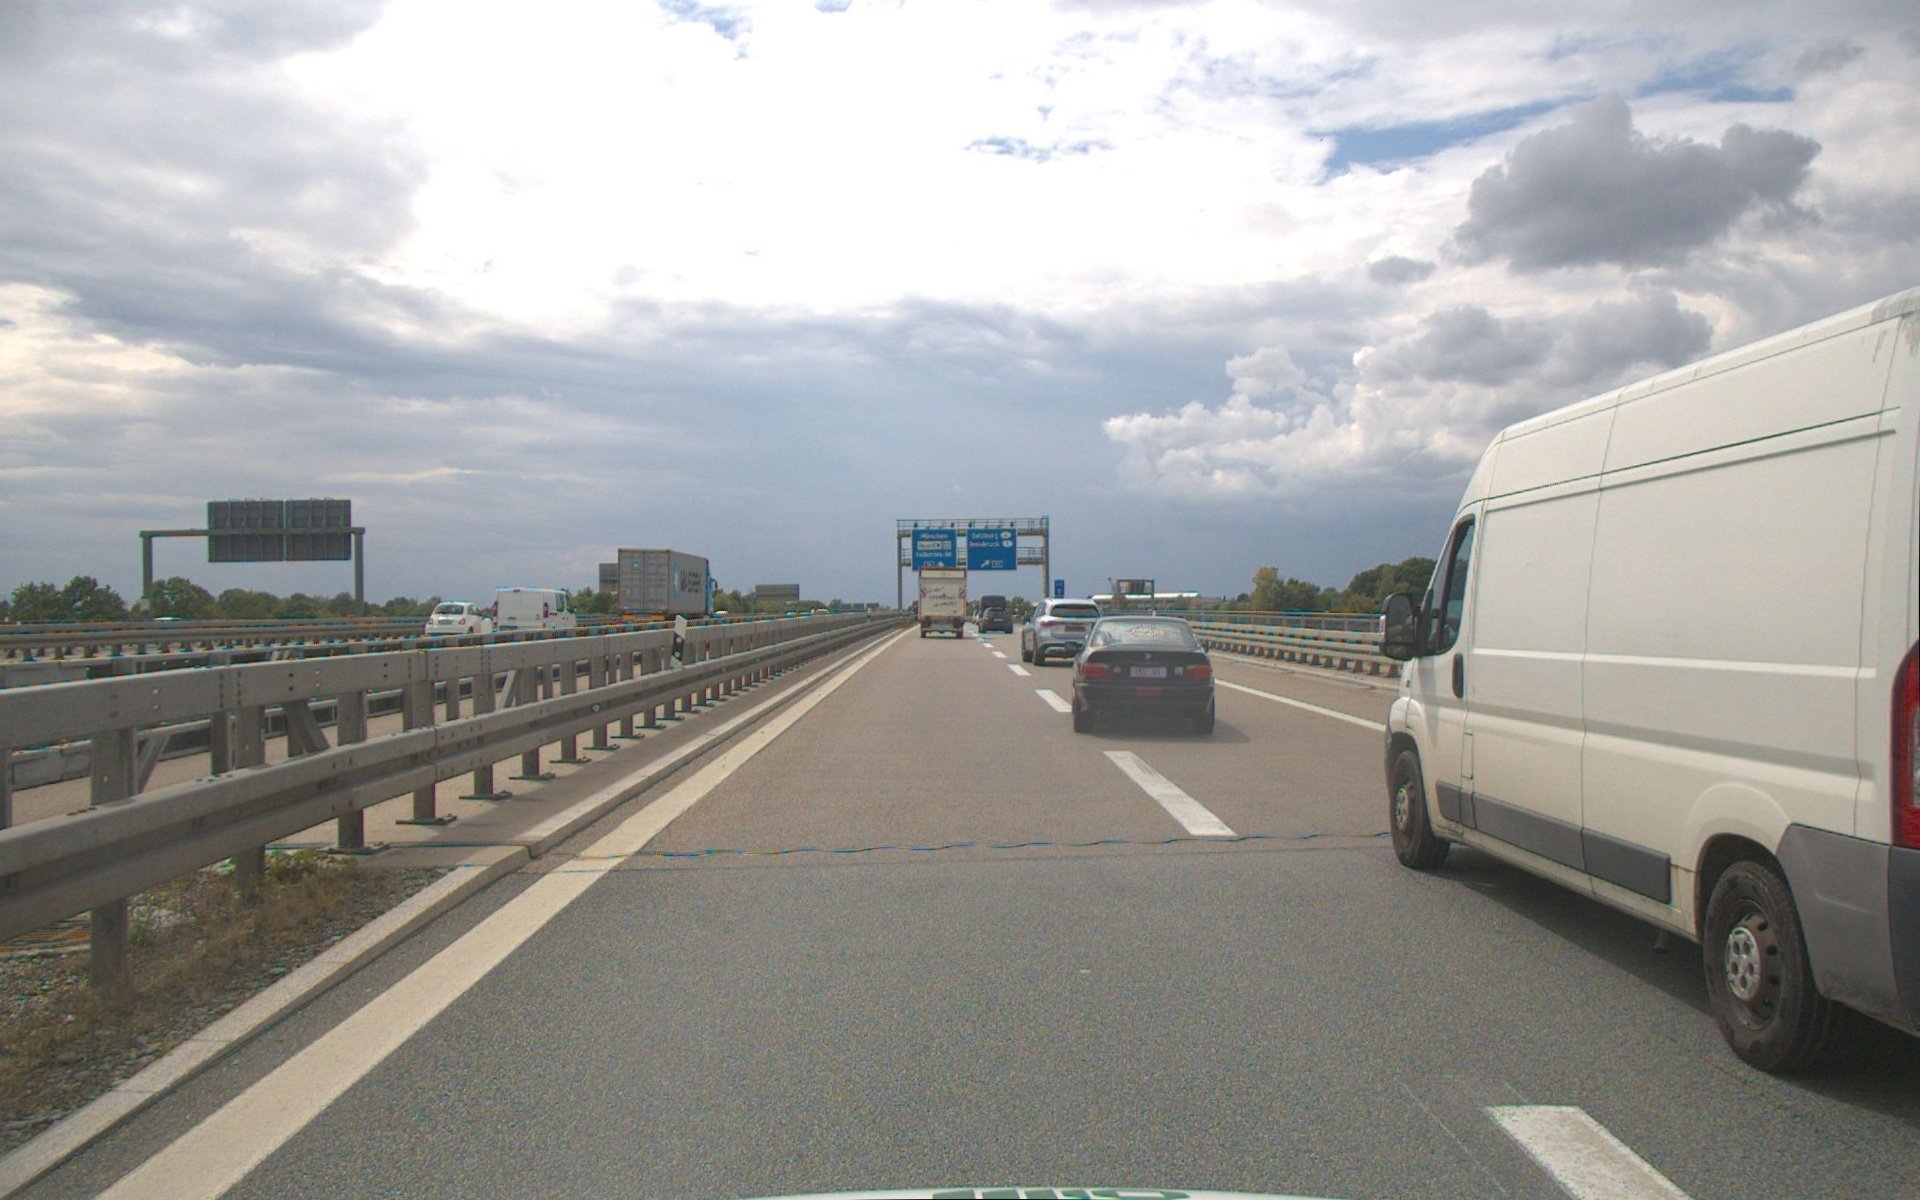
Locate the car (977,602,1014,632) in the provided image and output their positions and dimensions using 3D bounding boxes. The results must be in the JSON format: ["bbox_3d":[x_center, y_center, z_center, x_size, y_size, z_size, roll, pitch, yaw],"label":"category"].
[{"bbox_3d":[1.952,0.923,91.879,1.846,1.579,3.999,1,0,-1],"label":"car"}]

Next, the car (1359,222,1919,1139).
[{"bbox_3d":[3.617,0.231,7.446,2.071,2.497,6.150,1,0,-1],"label":"car"}]

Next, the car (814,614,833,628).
[{"bbox_3d":[-15.340,2.366,186.421,1.790,1.590,4.000,0,0,0],"label":"car"}]

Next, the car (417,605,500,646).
[{"bbox_3d":[-18.434,0.923,60.970,1.760,1.444,4.000,1,0,1],"label":"car"}]

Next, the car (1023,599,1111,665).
[{"bbox_3d":[2.607,0.763,41.198,1.783,1.541,3.998,1,0,-2],"label":"car"}]

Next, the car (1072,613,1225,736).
[{"bbox_3d":[2.318,0.840,20.512,1.668,1.303,4.369,1,0,6],"label":"car"}]

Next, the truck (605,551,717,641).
[{"bbox_3d":[-14.817,-0.179,83.491,3.119,4.089,16.068,1,0,-2],"label":"truck"}]

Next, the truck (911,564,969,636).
[{"bbox_3d":[-0.932,0.094,77.911,2.516,3.181,8.631,1,-1,-1],"label":"truck"}]

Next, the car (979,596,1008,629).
[{"bbox_3d":[2.349,0.891,117.646,1.868,2.301,4.648,1,0,-1],"label":"car"}]

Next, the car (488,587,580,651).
[{"bbox_3d":[-14.255,0.622,55.568,1.953,2.049,4.373,1,0,-1],"label":"car"}]
